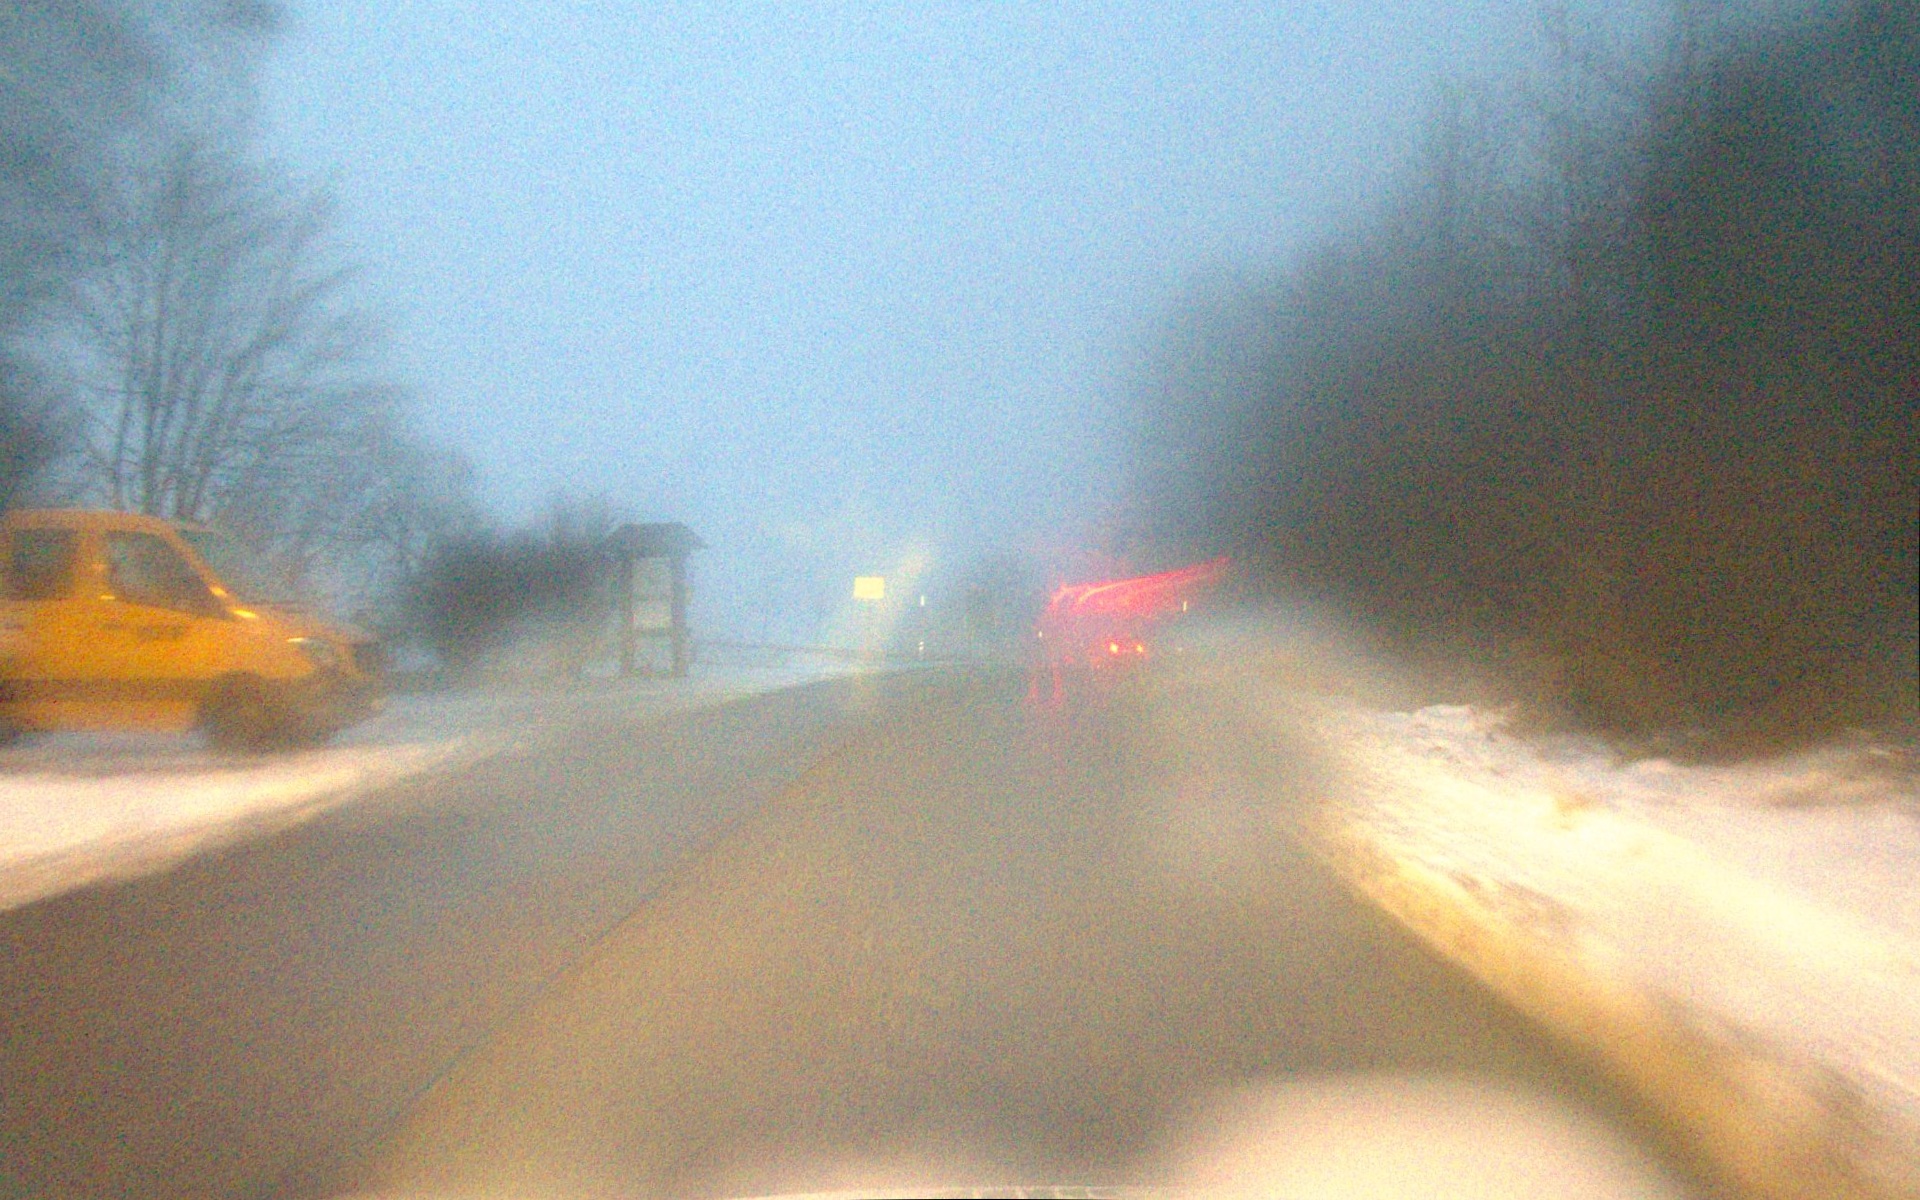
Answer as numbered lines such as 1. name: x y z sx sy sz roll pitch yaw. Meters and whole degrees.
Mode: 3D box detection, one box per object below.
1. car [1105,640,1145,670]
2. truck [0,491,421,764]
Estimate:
1. car: 8.279 2.755 83.002 1.951 1.445 4.002 0 -2 5
2. truck: -8.080 0.265 15.828 5.160 2.343 1.998 -2 0 -6
